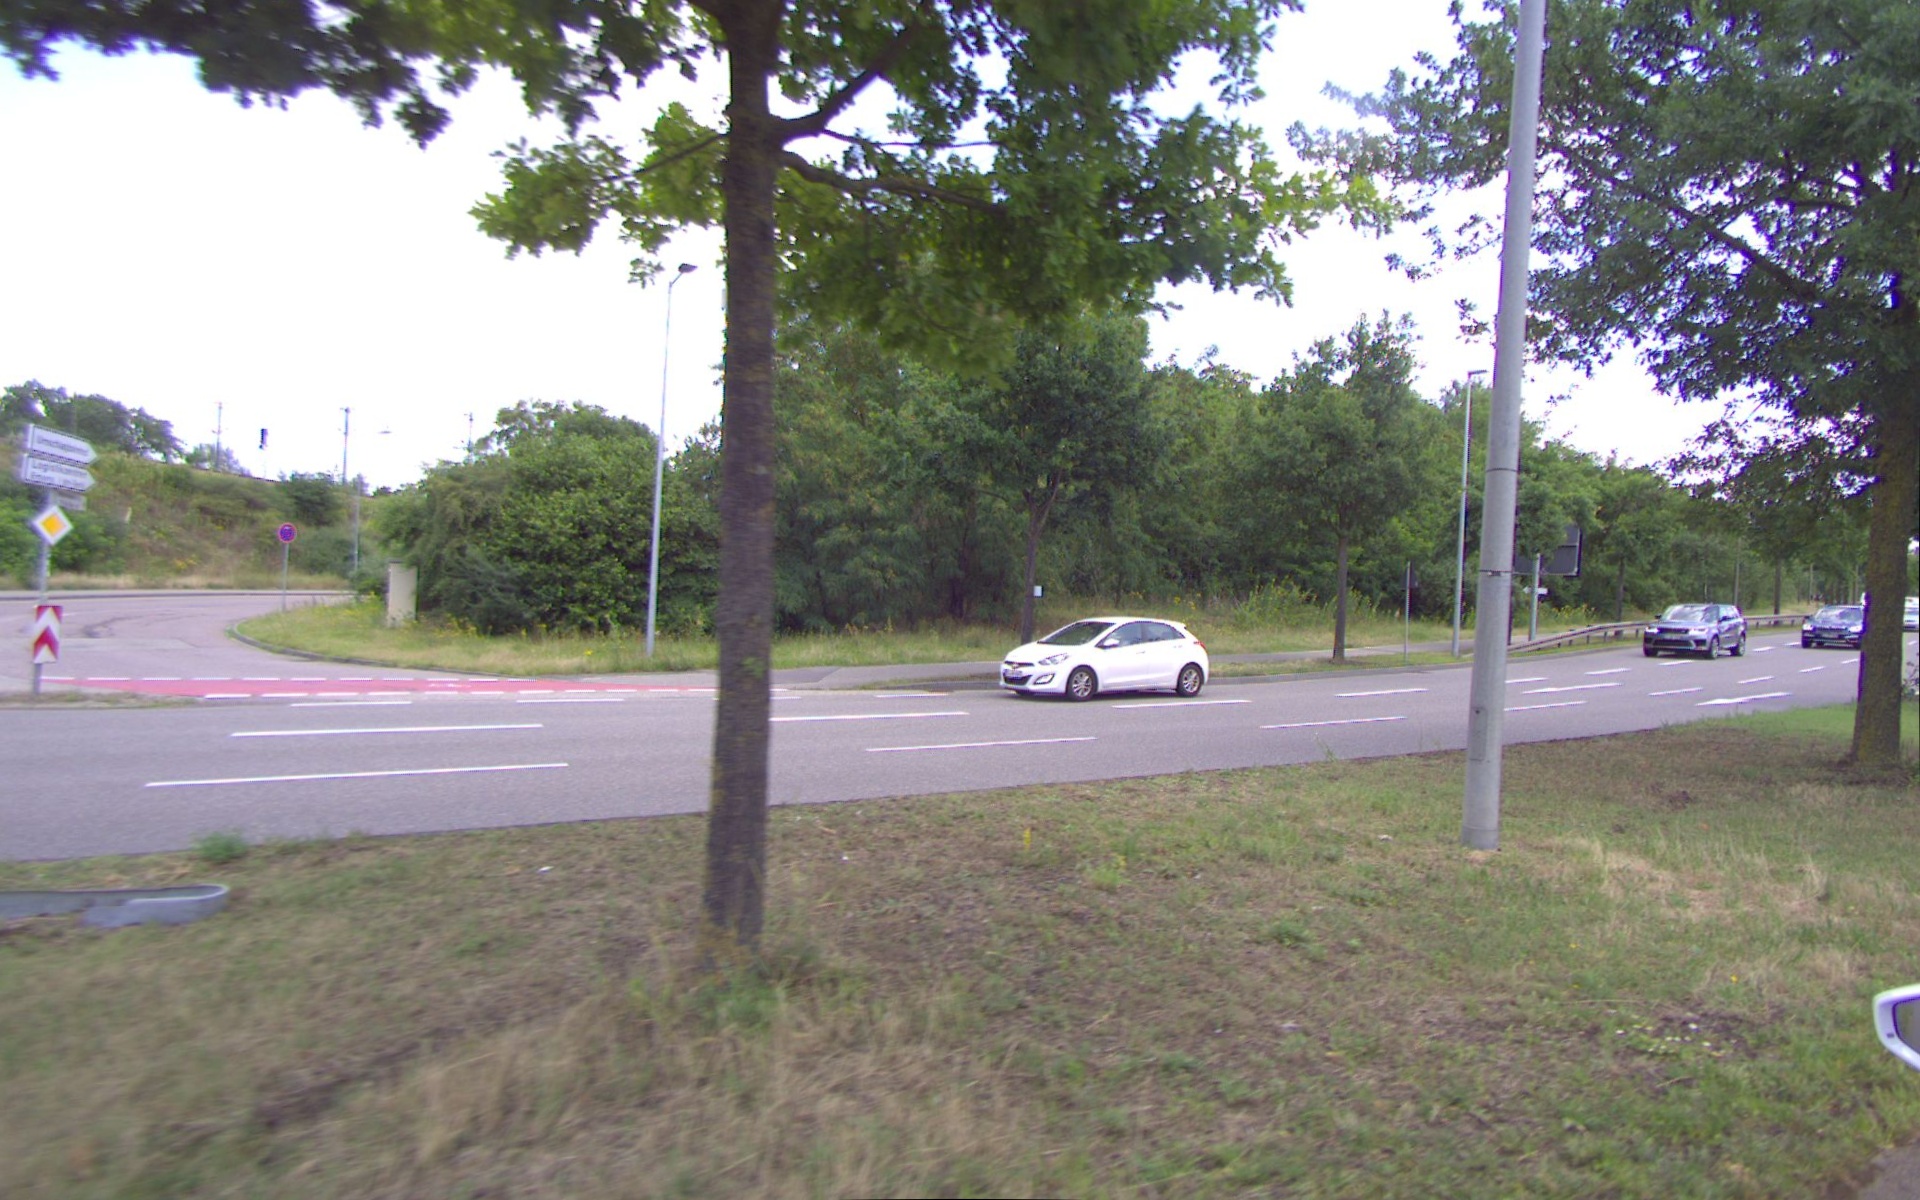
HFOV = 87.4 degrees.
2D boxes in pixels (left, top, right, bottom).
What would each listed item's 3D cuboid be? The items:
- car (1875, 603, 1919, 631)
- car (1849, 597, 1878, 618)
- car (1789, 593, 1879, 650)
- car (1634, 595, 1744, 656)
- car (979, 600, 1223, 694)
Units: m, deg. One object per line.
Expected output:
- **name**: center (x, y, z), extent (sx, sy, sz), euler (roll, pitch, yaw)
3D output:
- **car**: center (53.703, 0.942, 57.059), extent (4.661, 1.415, 1.976), euler (0, 2, -40)
- **car**: center (96.942, 0.780, 107.737), extent (4.528, 2.041, 1.973), euler (-1, 4, -45)
- **car**: center (34.902, 0.787, 40.055), extent (4.778, 2.041, 1.976), euler (-1, 3, -41)
- **car**: center (24.973, 0.861, 34.337), extent (4.678, 1.886, 1.976), euler (2, 1, -41)
- **car**: center (2.682, 0.866, 18.718), extent (4.288, 1.552, 1.981), euler (3, -1, -35)
